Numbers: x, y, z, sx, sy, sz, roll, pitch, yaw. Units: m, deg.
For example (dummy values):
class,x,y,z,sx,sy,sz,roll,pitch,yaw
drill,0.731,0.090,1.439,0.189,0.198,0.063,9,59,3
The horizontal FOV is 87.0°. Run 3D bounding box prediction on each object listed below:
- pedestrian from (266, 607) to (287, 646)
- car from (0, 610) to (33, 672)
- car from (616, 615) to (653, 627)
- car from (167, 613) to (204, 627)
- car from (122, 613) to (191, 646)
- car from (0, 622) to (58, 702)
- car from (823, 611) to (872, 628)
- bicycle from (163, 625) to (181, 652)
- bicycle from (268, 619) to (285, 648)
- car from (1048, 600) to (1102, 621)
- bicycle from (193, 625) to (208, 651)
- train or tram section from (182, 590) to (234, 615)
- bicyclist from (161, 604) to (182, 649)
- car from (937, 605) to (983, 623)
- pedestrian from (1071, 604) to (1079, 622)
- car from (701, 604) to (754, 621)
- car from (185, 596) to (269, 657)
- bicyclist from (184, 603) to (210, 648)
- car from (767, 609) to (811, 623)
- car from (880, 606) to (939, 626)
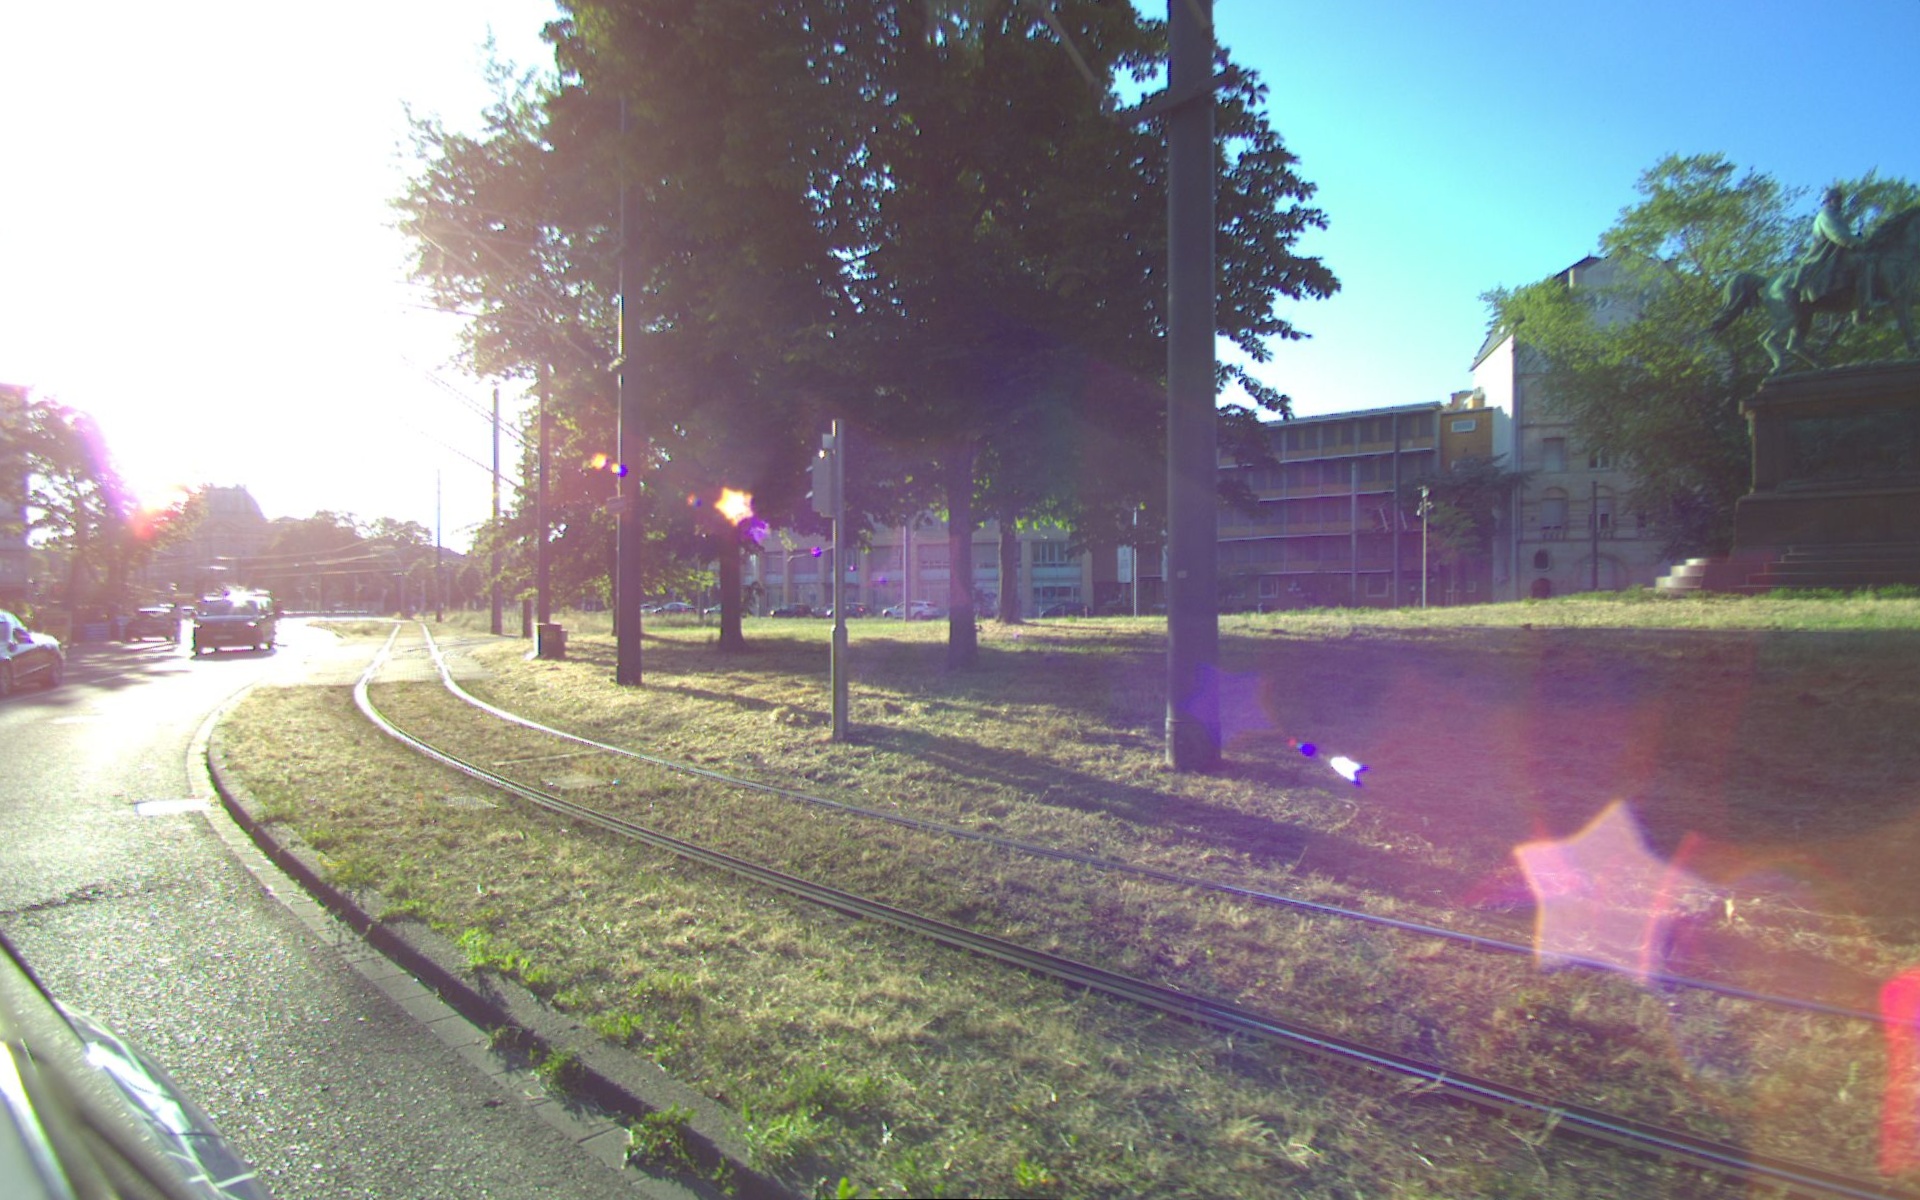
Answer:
class,x,y,z,sx,sy,sz,roll,pitch,yaw
pedestrian,-29.776,1.137,44.084,0.668,1.661,0.904,-1,0,-36
car,-25.458,1.037,25.711,1.757,1.568,4.248,2,-2,-28
car,-40.149,2.531,124.708,1.901,1.431,3.946,-1,-1,41
car,-82.637,2.170,108.014,4.573,1.411,1.822,-1,2,35
car,-37.830,1.366,47.721,1.703,1.483,3.912,2,-2,-26
car,-17.645,1.086,17.833,1.747,1.317,4.253,0,-1,-30
car,-8.949,1.521,80.214,3.731,1.291,1.632,-1,-1,35
bicycle,-32.120,1.561,41.251,0.568,1.035,1.860,0,-1,-37
bicycle,-29.798,1.448,44.140,0.522,1.167,1.853,-2,2,-36
car,8.182,0.755,72.271,3.502,1.364,1.541,-2,0,26
bicycle,-31.315,1.538,41.709,0.472,1.035,1.985,0,-1,-37
train or tram section,-112.416,0.461,151.167,13.229,3.563,2.747,-1,-1,37
bicyclist,-32.063,1.075,41.173,0.665,1.821,0.996,0,-1,-38
car,0.003,1.124,83.006,3.510,1.364,1.537,-2,0,33
pedestrian,9.207,1.035,81.238,0.484,1.441,0.409,-1,-1,37
car,-20.433,1.106,88.827,4.772,1.491,1.872,-1,0,36
car,-25.643,0.891,35.563,1.888,2.005,4.962,0,-1,-30
bicyclist,-31.492,1.057,41.773,0.816,1.821,1.059,0,-1,-38
car,-14.171,1.334,83.904,3.591,1.162,1.506,-1,-1,36
car,-3.844,1.227,76.730,4.295,1.493,1.757,-1,-1,32
